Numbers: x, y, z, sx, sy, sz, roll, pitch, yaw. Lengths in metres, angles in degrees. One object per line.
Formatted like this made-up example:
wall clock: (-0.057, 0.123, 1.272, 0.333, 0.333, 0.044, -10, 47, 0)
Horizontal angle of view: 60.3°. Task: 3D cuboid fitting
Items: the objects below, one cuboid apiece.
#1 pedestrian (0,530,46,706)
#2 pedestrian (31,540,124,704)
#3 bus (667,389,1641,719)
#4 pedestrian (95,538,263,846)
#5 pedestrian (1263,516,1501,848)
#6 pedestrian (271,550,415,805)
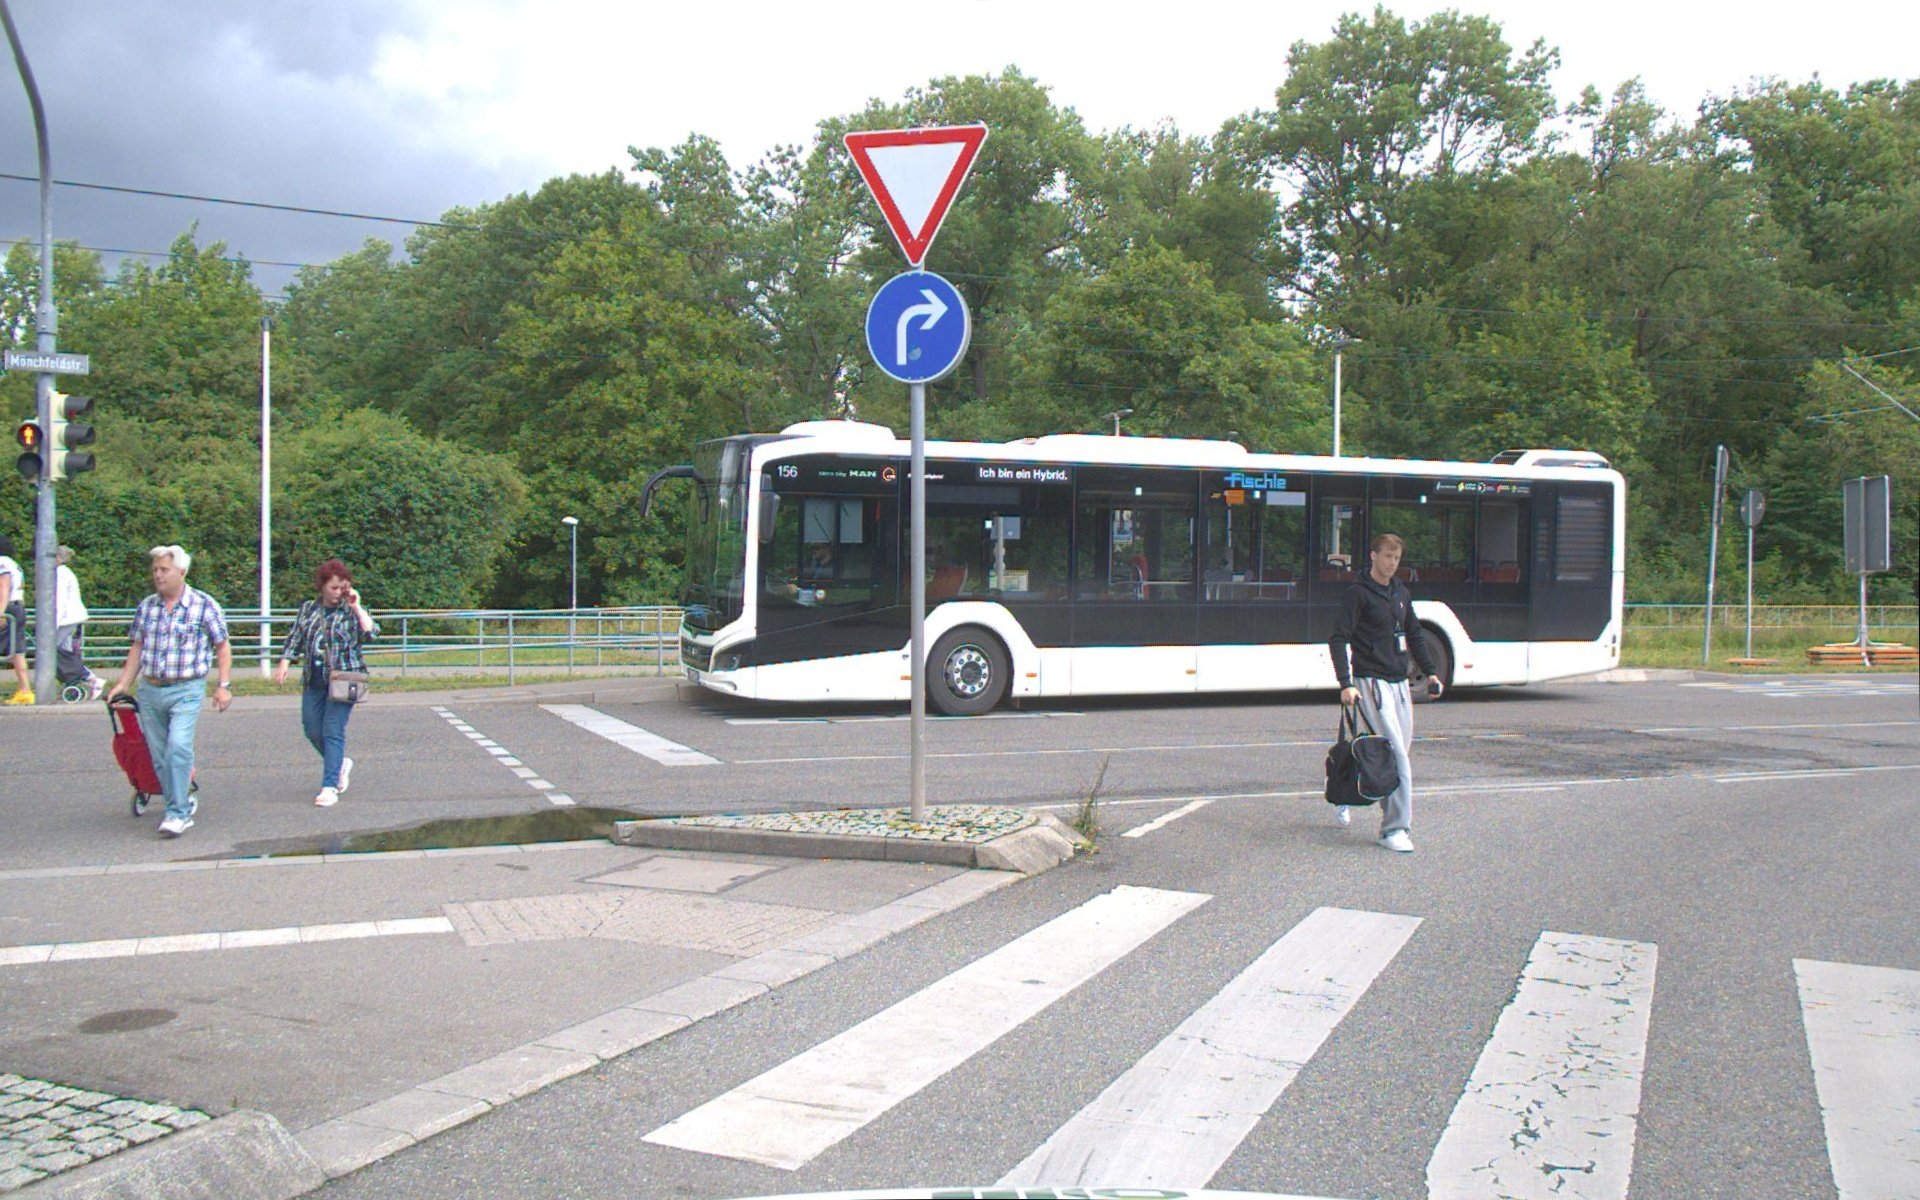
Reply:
pedestrian: (-9.996, 0.181, 17.149, 0.709, 1.778, 0.953, 1, 0, -17)
pedestrian: (-9.812, 0.237, 18.419, 0.709, 1.778, 0.953, 1, 0, -17)
bus: (2.681, -0.462, 19.957, 11.995, 3.259, 2.656, 0, 0, -23)
pedestrian: (-4.400, 0.493, 9.365, 0.684, 1.662, 0.720, -1, 0, -12)
pedestrian: (2.392, 0.440, 9.490, 0.938, 1.777, 1.058, 1, 0, -13)
pedestrian: (-3.997, 0.488, 10.763, 0.676, 1.594, 0.732, 1, 0, -4)
